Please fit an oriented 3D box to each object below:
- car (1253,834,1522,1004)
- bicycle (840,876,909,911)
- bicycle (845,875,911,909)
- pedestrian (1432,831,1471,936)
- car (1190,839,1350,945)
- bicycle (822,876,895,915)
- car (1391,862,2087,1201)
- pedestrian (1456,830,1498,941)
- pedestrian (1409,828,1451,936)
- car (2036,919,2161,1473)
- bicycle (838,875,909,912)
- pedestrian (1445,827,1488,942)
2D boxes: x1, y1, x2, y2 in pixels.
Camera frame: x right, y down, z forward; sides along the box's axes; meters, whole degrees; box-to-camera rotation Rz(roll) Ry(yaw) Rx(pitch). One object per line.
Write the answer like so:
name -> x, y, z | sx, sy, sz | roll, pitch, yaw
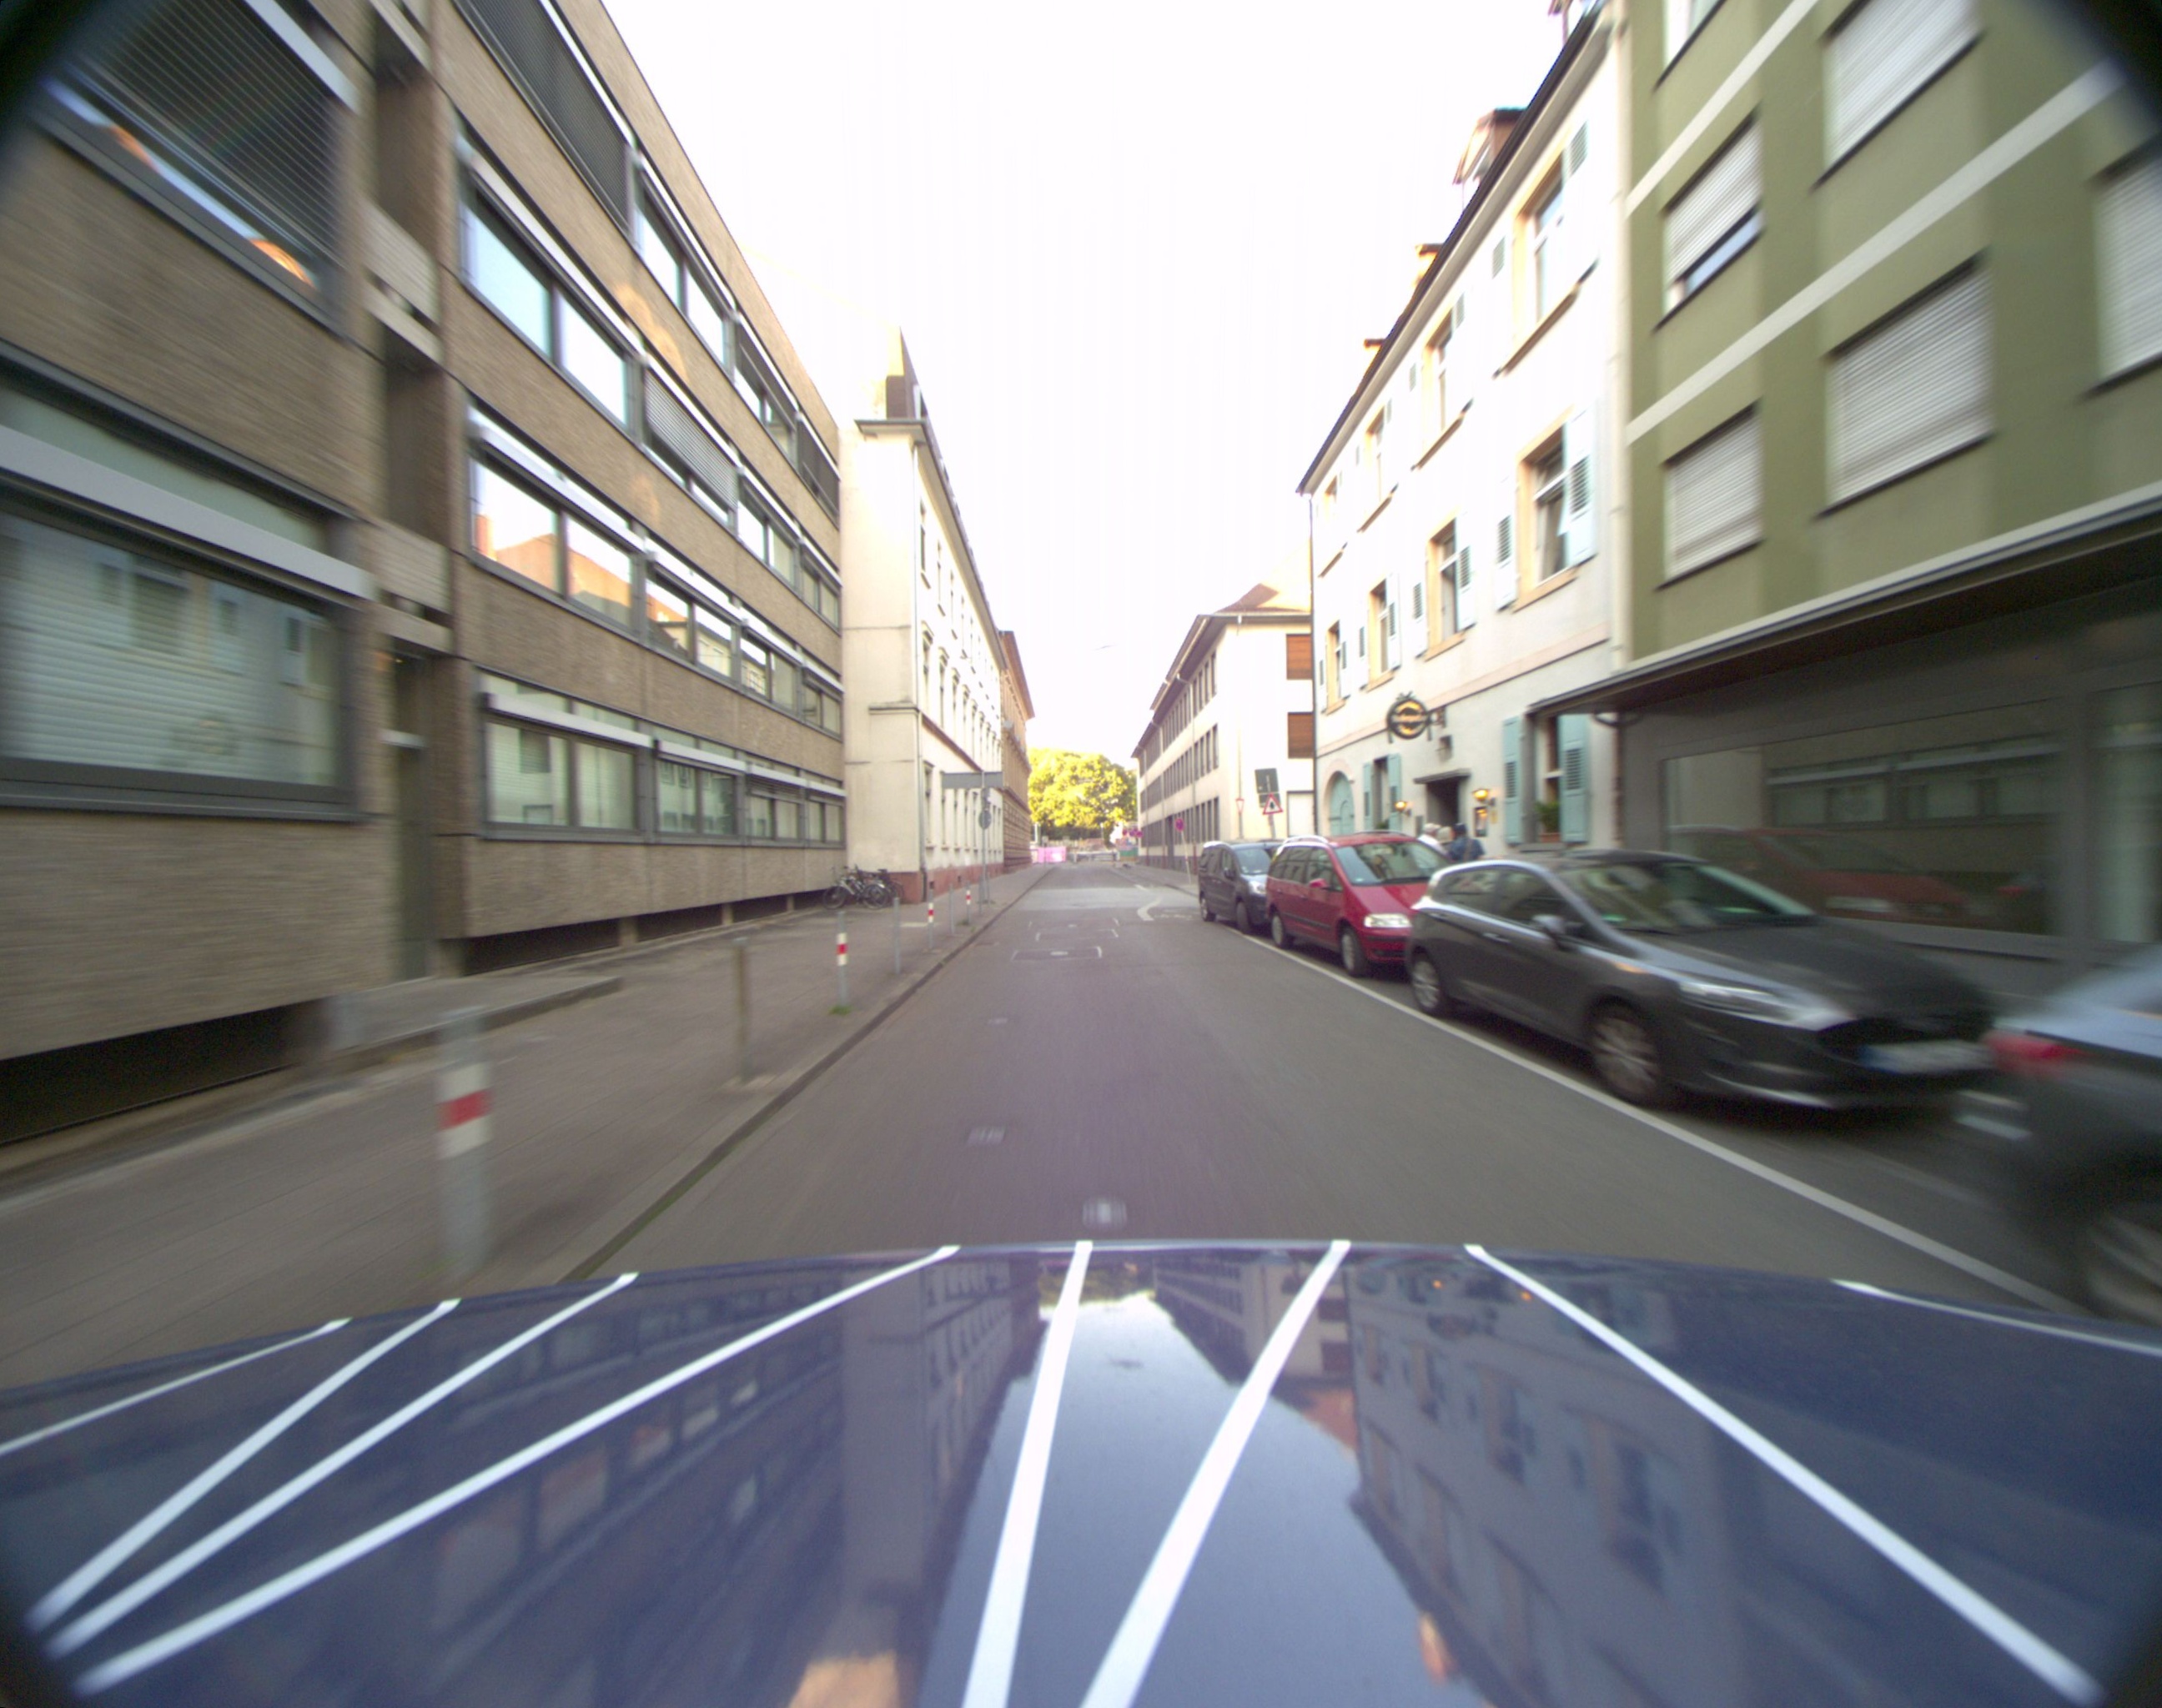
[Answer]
car -> 3.884, 0.694, 10.590 | 1.777, 1.801, 4.509 | -2, 1, -2
bicycle -> -5.821, 1.108, 21.515 | 1.801, 0.917, 0.516 | -2, 1, -8
bicycle -> -5.884, 1.103, 22.084 | 1.800, 0.917, 0.396 | -2, 1, -4
pedestrian -> 6.244, 0.488, 12.819 | 0.407, 1.740, 0.470 | -1, 1, 1
car -> 3.642, 0.644, 15.539 | 1.882, 1.801, 4.449 | -2, 1, -4
bicycle -> -5.824, 1.077, 19.943 | 1.745, 0.917, 0.538 | -2, 1, -7
car -> 3.853, 0.847, 5.472 | 1.628, 1.476, 3.877 | -1, 1, 0
pedestrian -> 6.377, 0.500, 12.250 | 0.407, 1.740, 0.470 | -1, 1, 1
pedestrian -> 5.747, 0.458, 12.514 | 0.450, 1.740, 0.470 | -1, 1, 1
car -> 3.668, 0.902, 0.259 | 1.628, 1.408, 3.979 | -2, 1, -2
bicycle -> -5.650, 1.063, 20.760 | 1.801, 0.917, 0.538 | -2, 1, -8
pedestrian -> 5.961, 0.457, 11.760 | 0.407, 1.740, 0.470 | -1, 1, 1
